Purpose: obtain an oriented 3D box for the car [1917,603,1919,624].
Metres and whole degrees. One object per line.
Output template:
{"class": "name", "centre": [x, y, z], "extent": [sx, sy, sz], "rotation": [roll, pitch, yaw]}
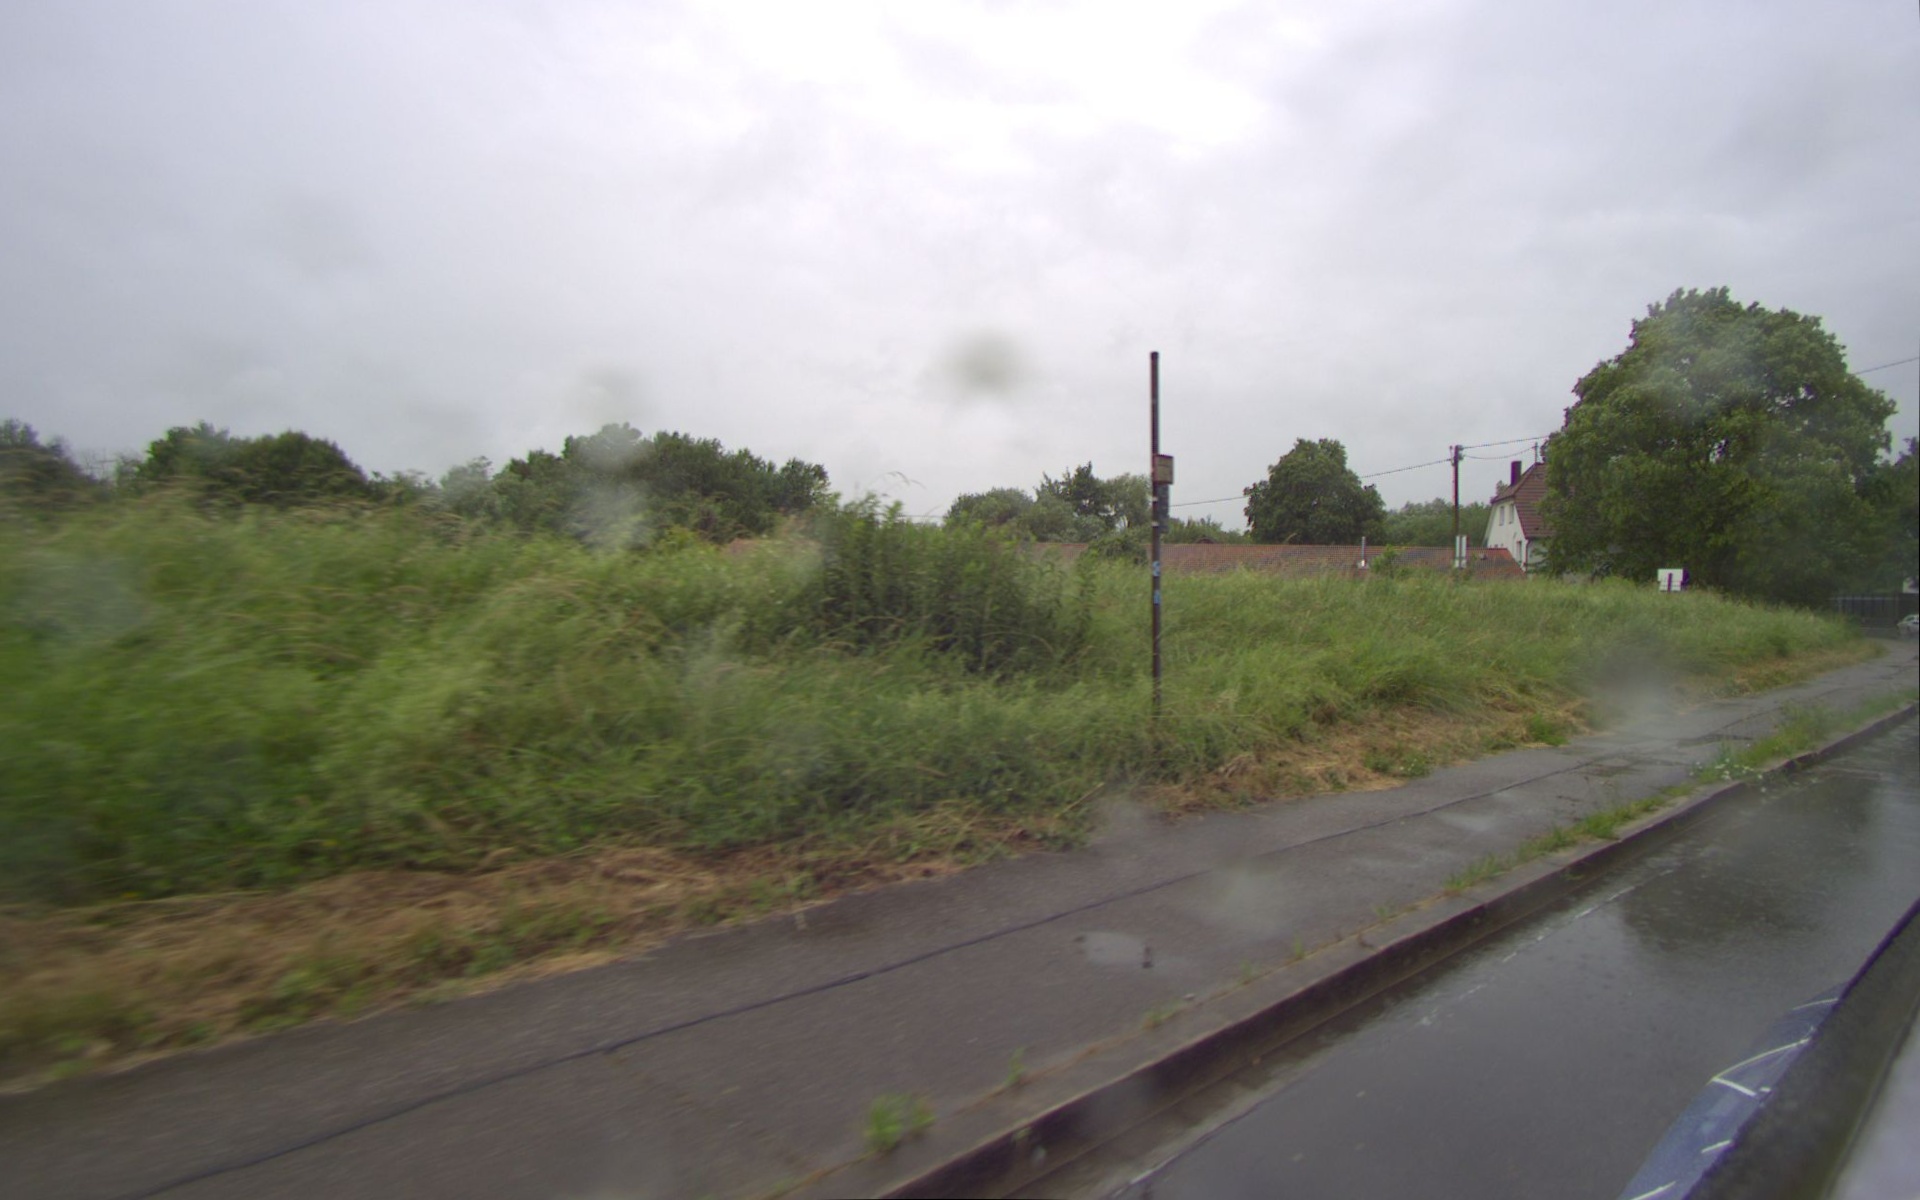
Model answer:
{"class": "car", "centre": [65.839, 0.928, 67.742], "extent": [2.131, 1.366, 4.248], "rotation": [0, 0, 38]}
